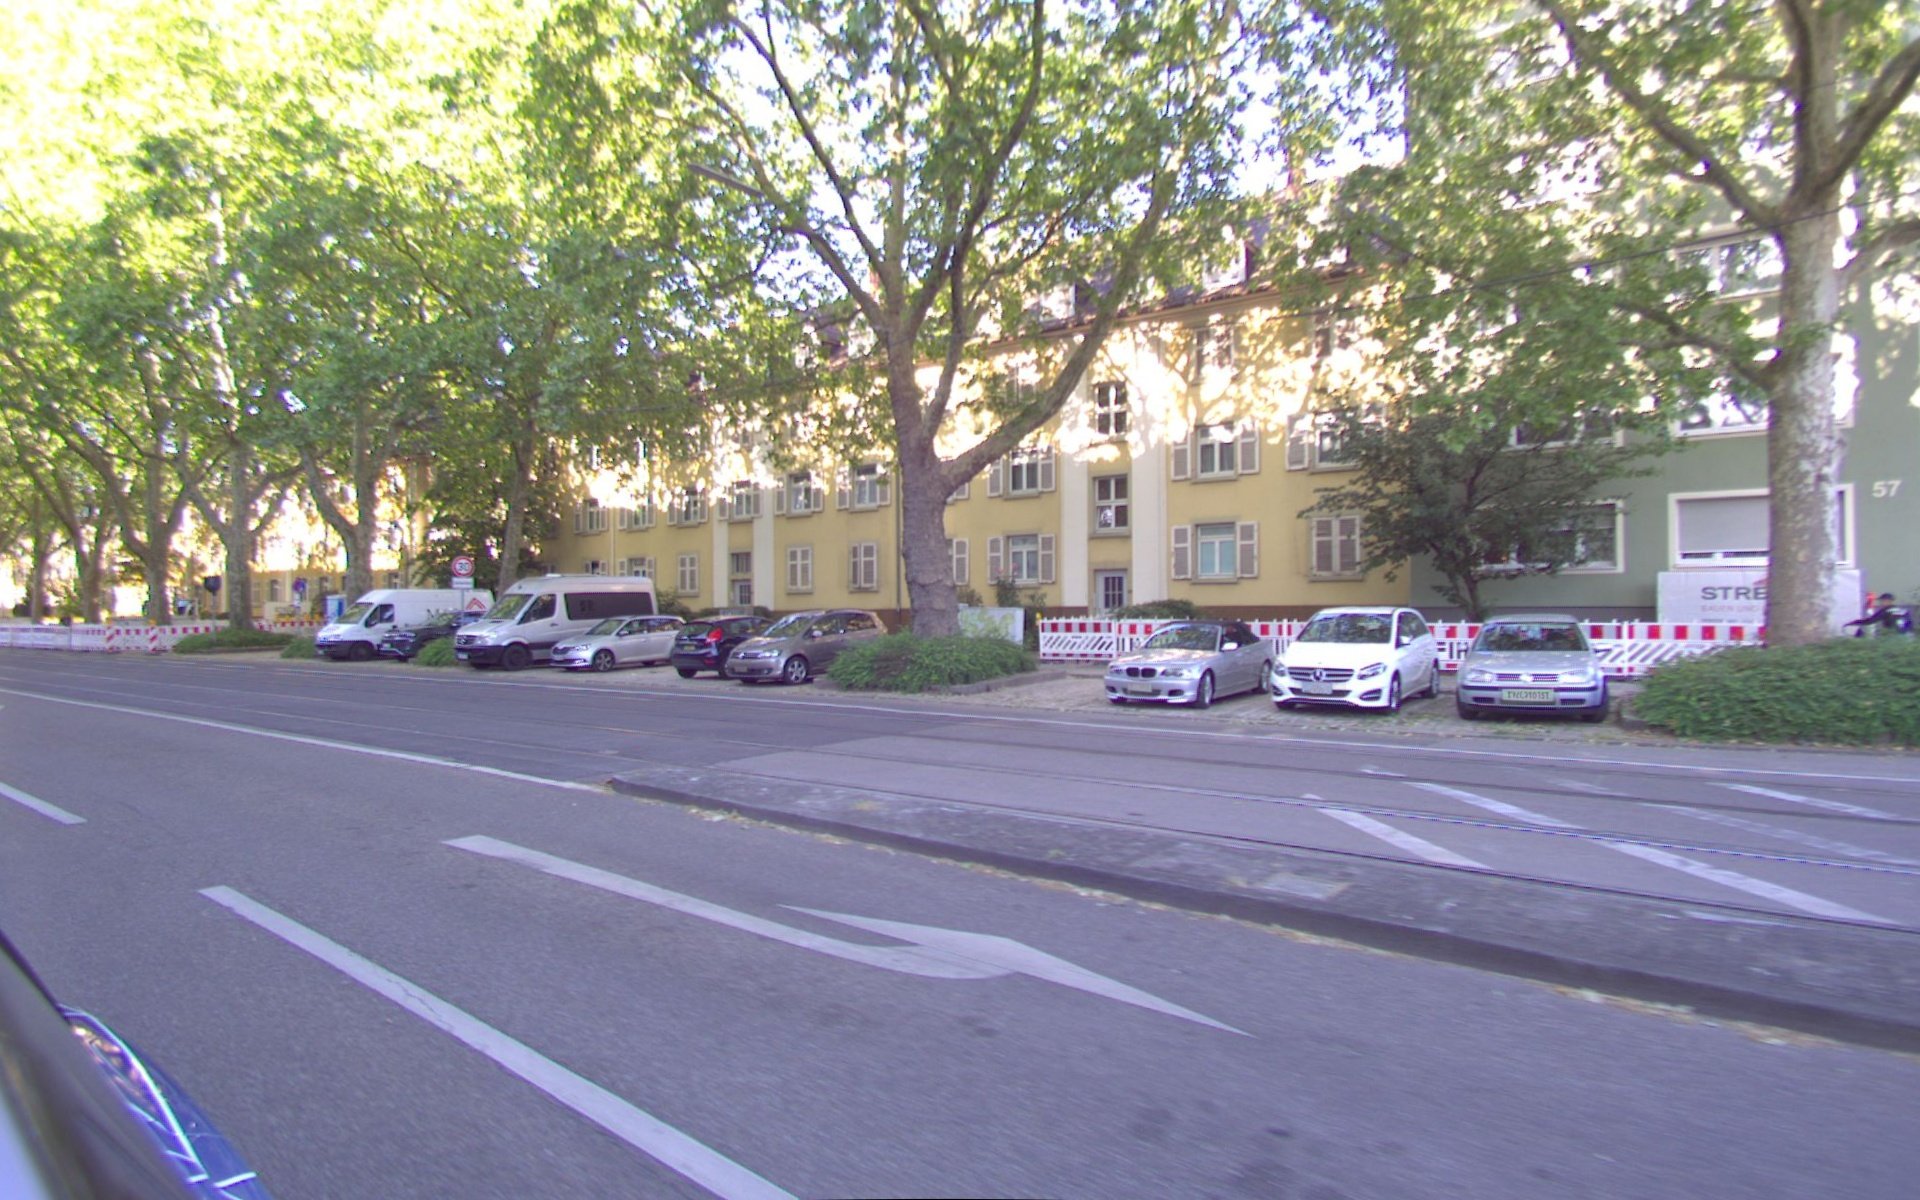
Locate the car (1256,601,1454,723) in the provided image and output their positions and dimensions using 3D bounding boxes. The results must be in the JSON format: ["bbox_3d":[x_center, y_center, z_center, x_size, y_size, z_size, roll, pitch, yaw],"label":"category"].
[{"bbox_3d":[6.382,0.854,16.106,1.842,1.624,4.031,0,1,38],"label":"car"}]

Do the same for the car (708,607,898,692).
[{"bbox_3d":[-3.397,1.008,22.532,1.842,1.631,4.031,0,1,38],"label":"car"}]

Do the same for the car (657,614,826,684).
[{"bbox_3d":[-5.222,1.128,24.579,1.691,1.457,3.814,0,1,38],"label":"car"}]

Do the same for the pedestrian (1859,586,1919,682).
[{"bbox_3d":[15.694,0.558,16.932,0.735,1.580,0.600,-1,-1,12],"label":"pedestrian"}]

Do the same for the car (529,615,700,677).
[{"bbox_3d":[-9.384,1.187,27.789,1.691,1.457,4.224,0,1,38],"label":"car"}]

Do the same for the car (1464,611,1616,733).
[{"bbox_3d":[8.458,0.917,14.681,1.698,1.427,3.957,0,1,32],"label":"car"}]

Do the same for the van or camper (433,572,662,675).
[{"bbox_3d":[-11.717,0.584,29.236,2.153,2.668,5.862,0,1,37],"label":"van or camper"}]

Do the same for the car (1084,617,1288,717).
[{"bbox_3d":[3.968,1.033,17.306,1.842,1.379,4.031,0,1,38],"label":"car"}]

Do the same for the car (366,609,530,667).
[{"bbox_3d":[-16.598,1.178,33.015,1.691,1.645,4.485,0,1,38],"label":"car"}]

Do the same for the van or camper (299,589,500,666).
[{"bbox_3d":[-19.167,0.843,34.882,2.153,2.403,5.695,0,1,37],"label":"van or camper"}]
